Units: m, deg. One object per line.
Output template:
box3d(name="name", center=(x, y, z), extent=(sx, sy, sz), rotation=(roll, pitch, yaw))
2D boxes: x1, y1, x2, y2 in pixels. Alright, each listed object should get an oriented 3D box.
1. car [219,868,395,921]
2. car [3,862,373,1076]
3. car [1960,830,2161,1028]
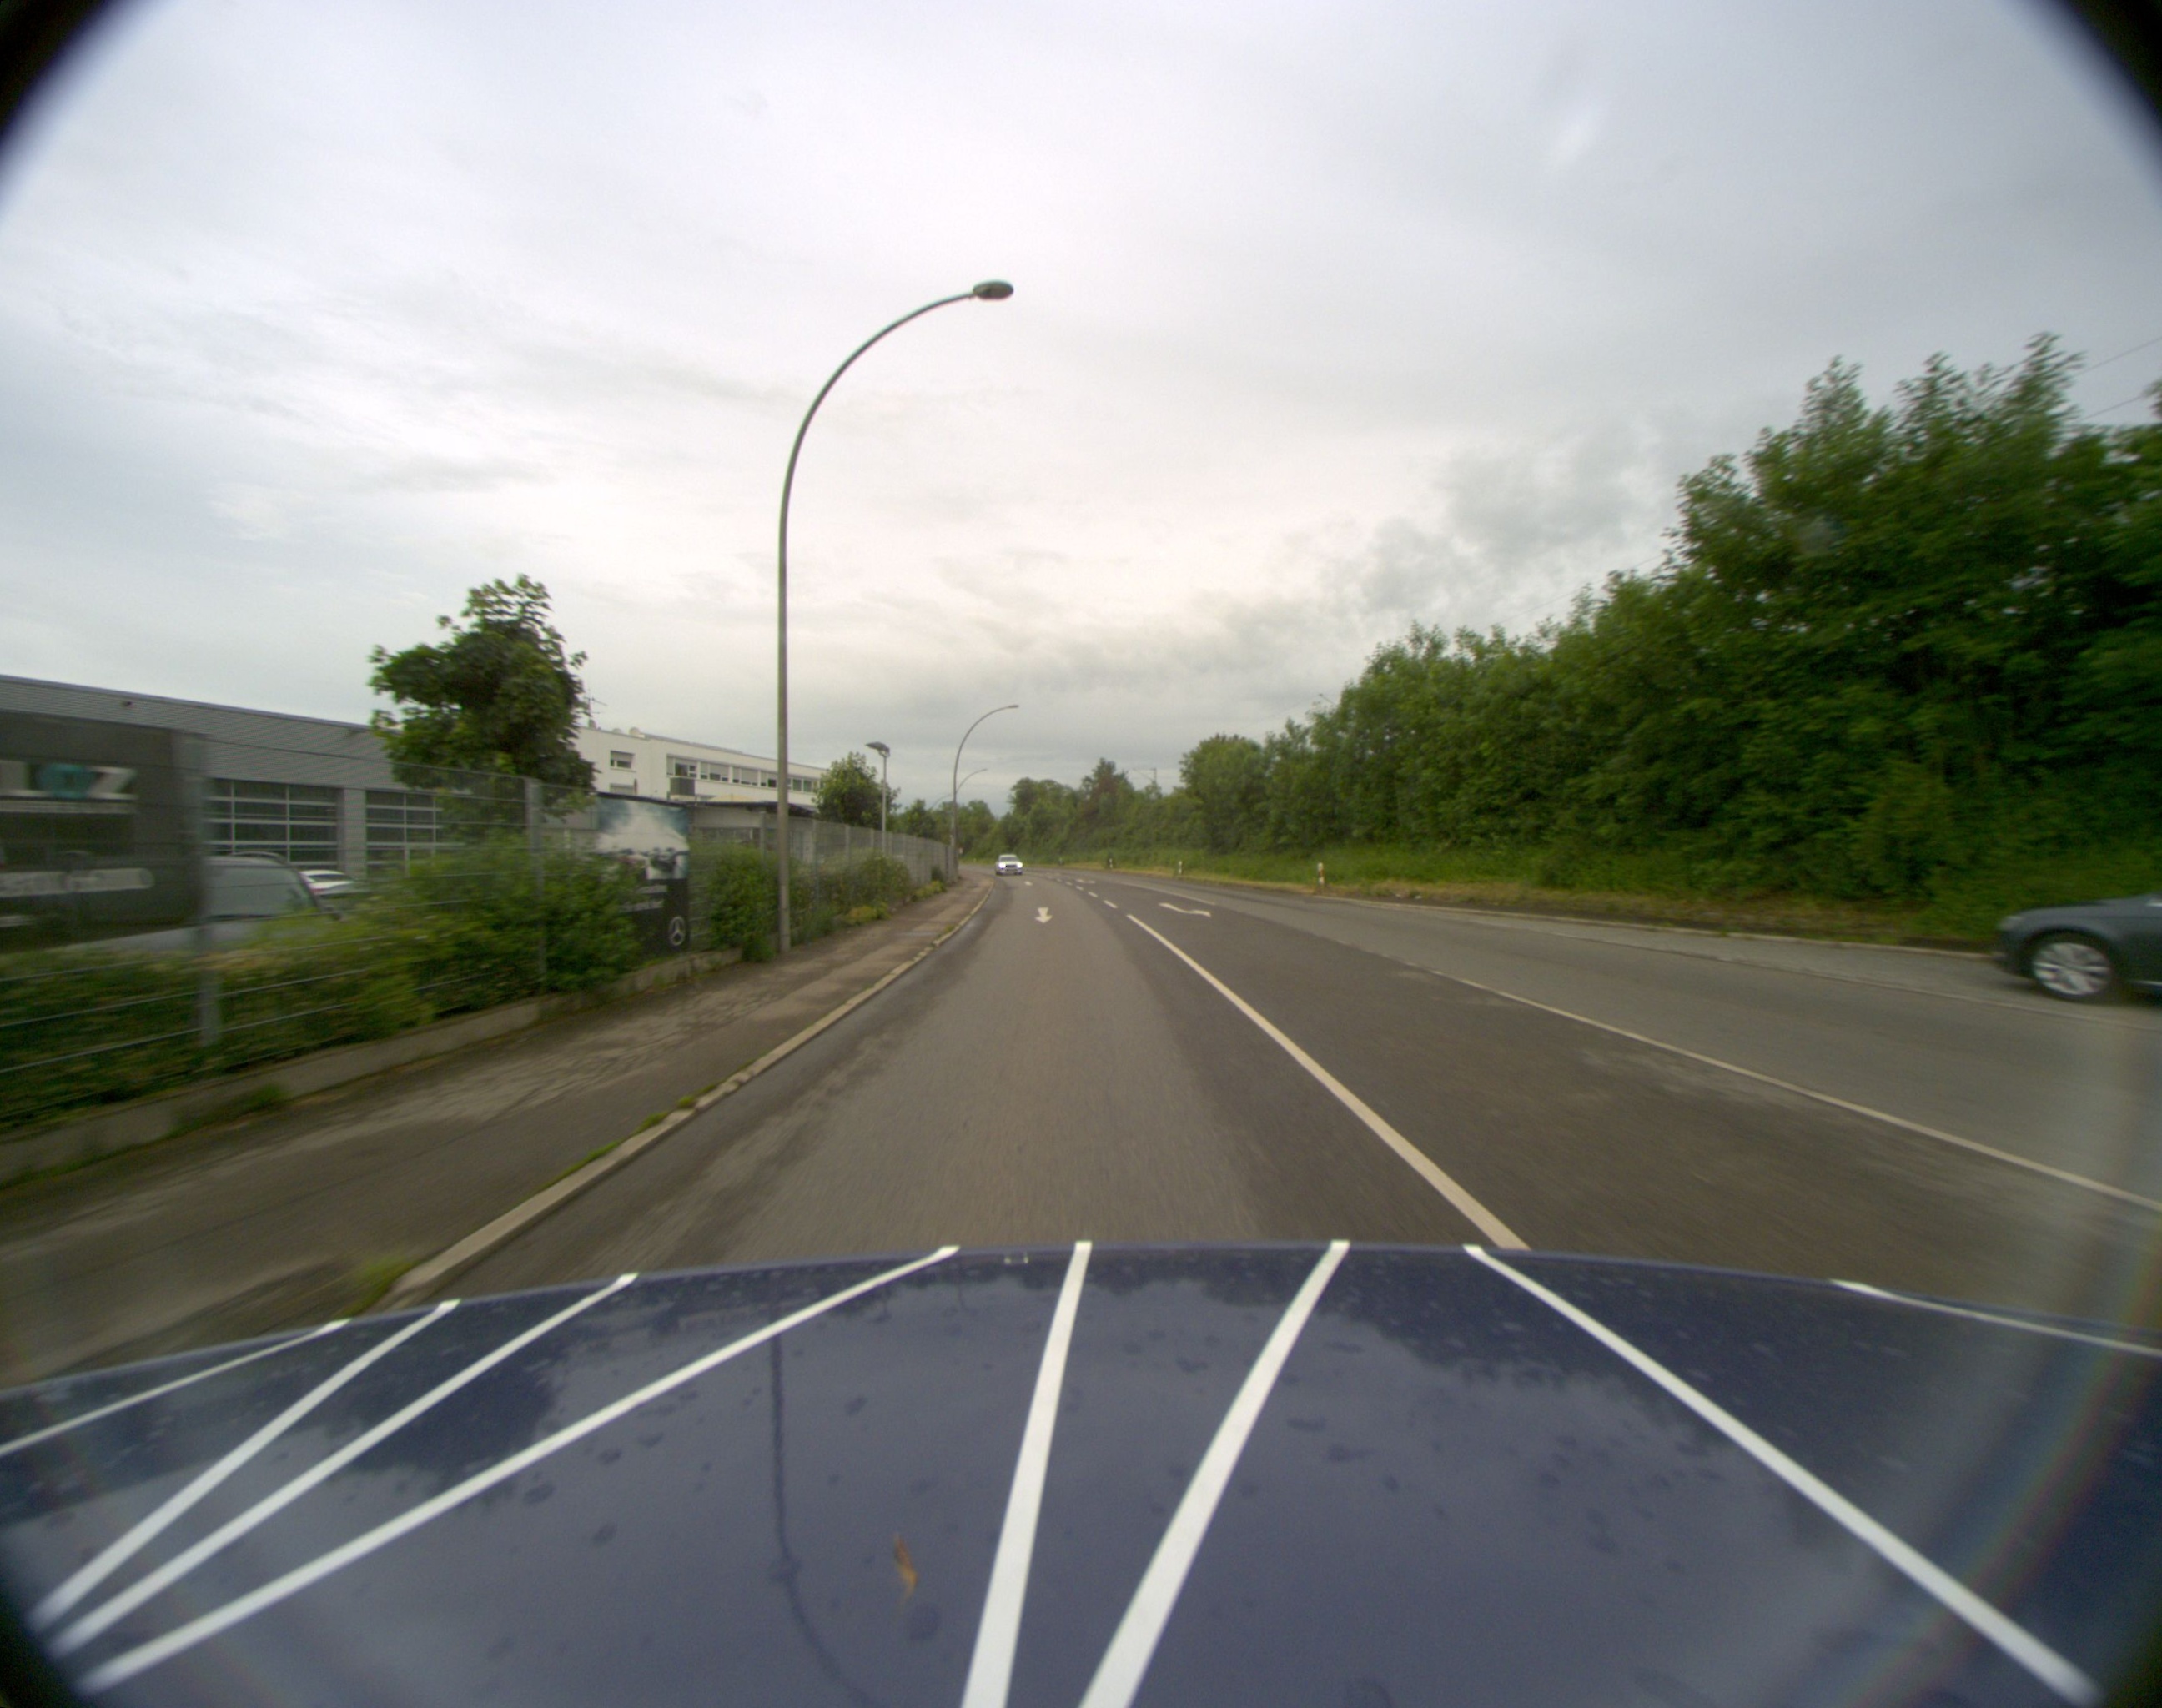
box3d(name="car", center=(-24.427, 1.262, 24.002), extent=(4.642, 1.392, 1.721), rotation=(-2, 2, 15))
box3d(name="car", center=(-9.825, 1.013, 8.320), extent=(4.105, 1.828, 1.777), rotation=(0, 0, 28))
box3d(name="car", center=(9.529, 0.632, 5.038), extent=(1.998, 1.466, 4.698), rotation=(-3, 2, 0))
